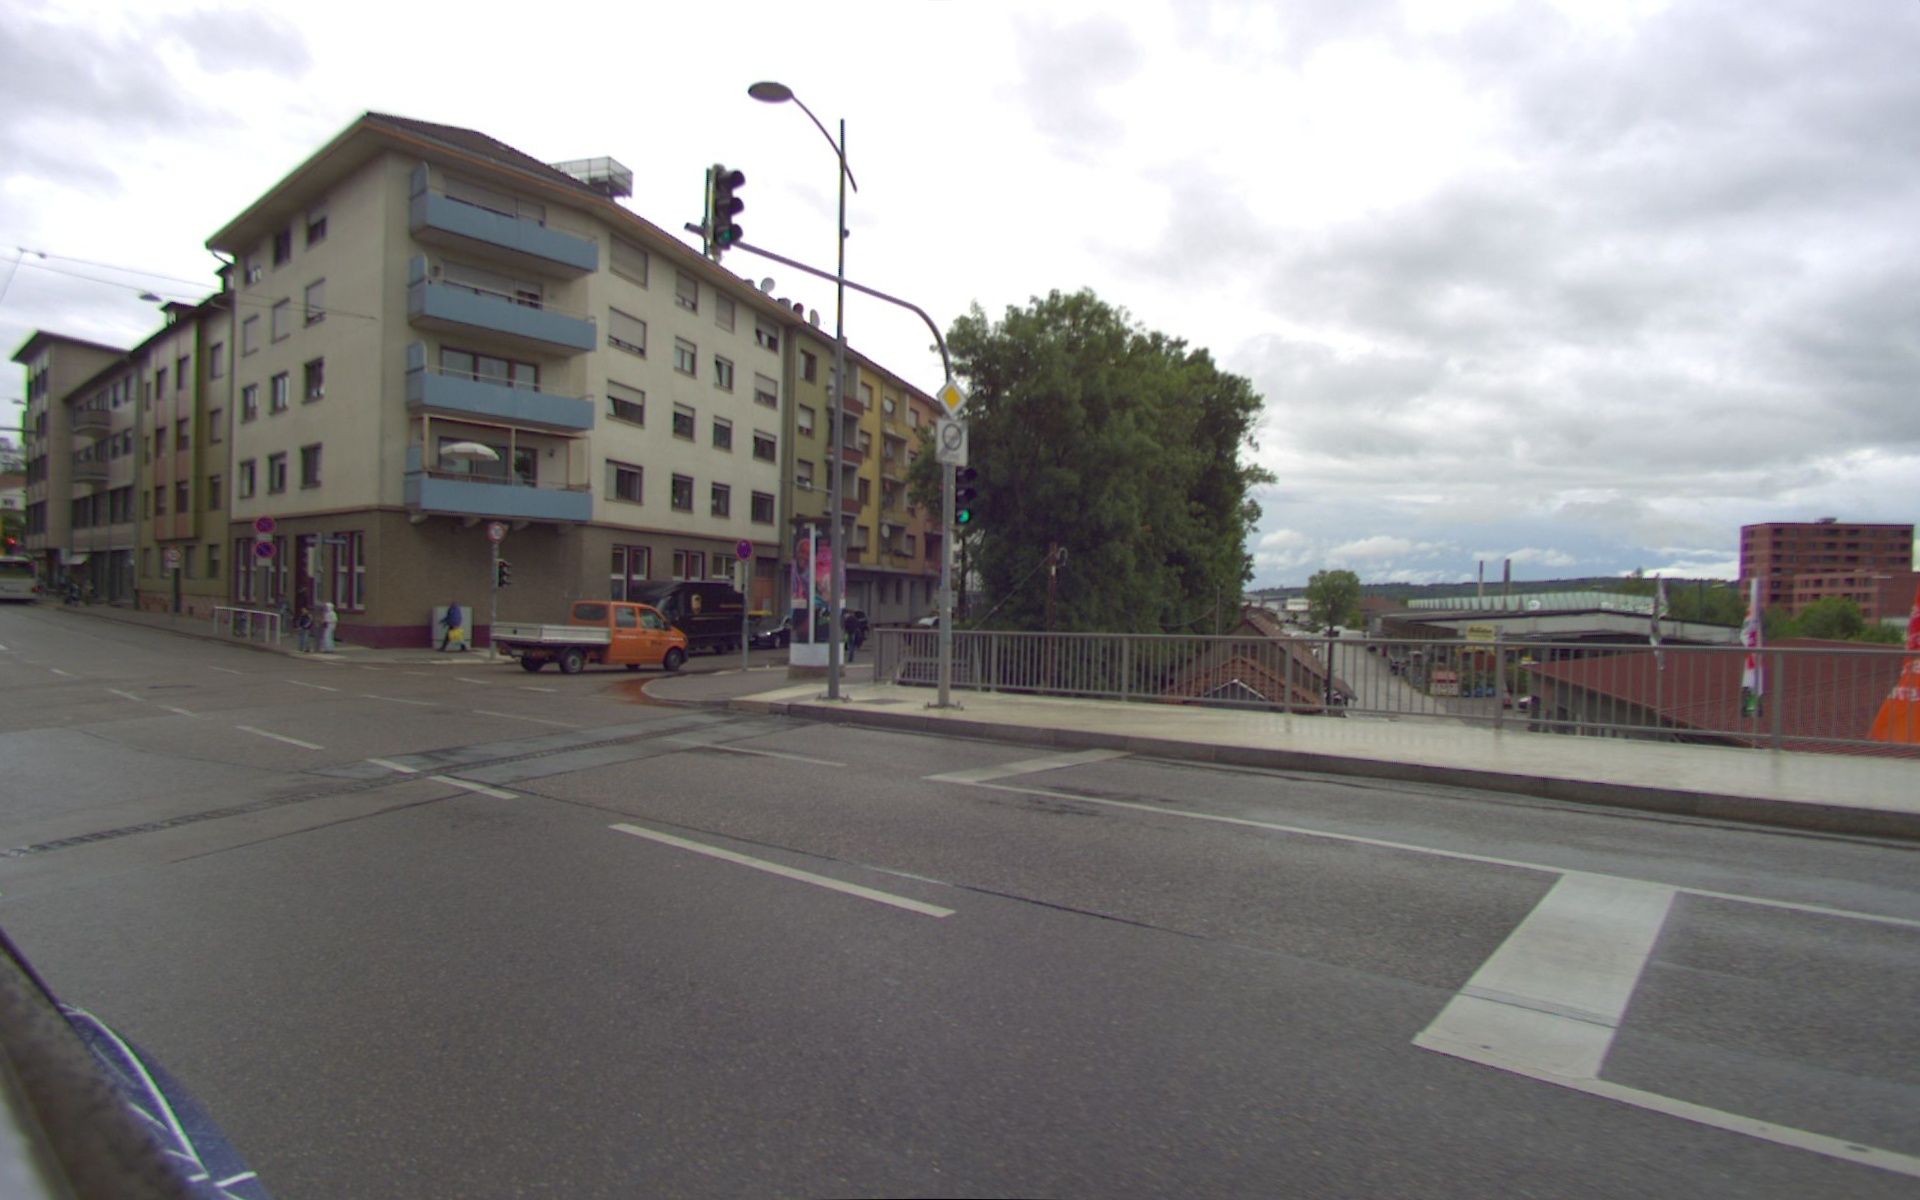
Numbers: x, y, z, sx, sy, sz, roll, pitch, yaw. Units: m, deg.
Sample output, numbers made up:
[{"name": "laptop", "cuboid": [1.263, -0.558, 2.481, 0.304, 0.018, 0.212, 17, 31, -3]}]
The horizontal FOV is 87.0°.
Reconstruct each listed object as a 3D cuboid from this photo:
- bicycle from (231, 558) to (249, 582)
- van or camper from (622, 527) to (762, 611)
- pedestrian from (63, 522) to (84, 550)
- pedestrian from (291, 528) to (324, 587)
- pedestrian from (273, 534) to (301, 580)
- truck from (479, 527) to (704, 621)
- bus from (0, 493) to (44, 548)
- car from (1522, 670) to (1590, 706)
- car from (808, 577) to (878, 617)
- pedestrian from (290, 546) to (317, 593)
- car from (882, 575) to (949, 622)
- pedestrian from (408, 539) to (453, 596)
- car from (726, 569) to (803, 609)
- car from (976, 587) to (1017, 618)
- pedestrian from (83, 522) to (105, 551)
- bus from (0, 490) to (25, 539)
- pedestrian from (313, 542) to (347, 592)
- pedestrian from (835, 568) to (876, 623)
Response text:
[{"name": "bicycle", "cuboid": [-26.044, -1.086, 36.609, 1.111, 0.789, 0.261, 6, 2, 41]}, {"name": "van or camper", "cuboid": [-9.881, -1.090, 38.042, 1.982, 2.750, 6.451, 5, 2, 15]}, {"name": "pedestrian", "cuboid": [-51.843, -3.728, 59.189, 0.711, 1.546, 0.791, 6, 2, 41]}, {"name": "pedestrian", "cuboid": [-24.328, -1.596, 37.735, 0.729, 2.115, 0.705, 6, 2, 38]}, {"name": "pedestrian", "cuboid": [-24.114, -1.534, 36.259, 0.739, 1.565, 0.569, 6, 2, 38]}, {"name": "truck", "cuboid": [-9.850, -0.640, 27.489, 2.402, 2.145, 5.253, 6, 2, 34]}, {"name": "bus", "cuboid": [-62.091, -5.278, 65.732, 9.291, 3.211, 2.697, 6, 2, 41]}, {"name": "car", "cuboid": [43.648, 6.441, 74.258, 3.980, 2.028, 1.982, 6, 2, 26]}, {"name": "car", "cuboid": [-5.125, -0.139, 44.727, 1.807, 1.528, 3.985, 5, 2, 12]}, {"name": "pedestrian", "cuboid": [-20.213, -0.942, 31.149, 0.649, 1.398, 0.539, 7, 7, 43]}, {"name": "car", "cuboid": [-2.126, -0.101, 49.566, 1.982, 2.028, 3.980, 5, 2, 16]}, {"name": "pedestrian", "cuboid": [-17.286, -1.058, 33.055, 1.022, 1.766, 0.920, 6, 2, 42]}, {"name": "car", "cuboid": [-8.405, -0.463, 43.830, 1.852, 1.510, 3.687, 5, 2, 14]}, {"name": "car", "cuboid": [2.705, 0.183, 74.298, 1.982, 2.028, 3.980, 5, 2, 15]}, {"name": "pedestrian", "cuboid": [-50.820, -3.716, 59.407, 0.711, 1.626, 0.828, 6, 2, 41]}, {"name": "bus", "cuboid": [-68.122, -6.164, 70.983, 8.910, 3.211, 2.730, 6, 2, 41]}, {"name": "pedestrian", "cuboid": [-19.273, -1.013, 30.954, 0.660, 1.468, 0.636, 6, 2, 39]}, {"name": "pedestrian", "cuboid": [-3.537, -0.170, 34.371, 1.050, 1.770, 1.070, 5, 2, 6]}]
